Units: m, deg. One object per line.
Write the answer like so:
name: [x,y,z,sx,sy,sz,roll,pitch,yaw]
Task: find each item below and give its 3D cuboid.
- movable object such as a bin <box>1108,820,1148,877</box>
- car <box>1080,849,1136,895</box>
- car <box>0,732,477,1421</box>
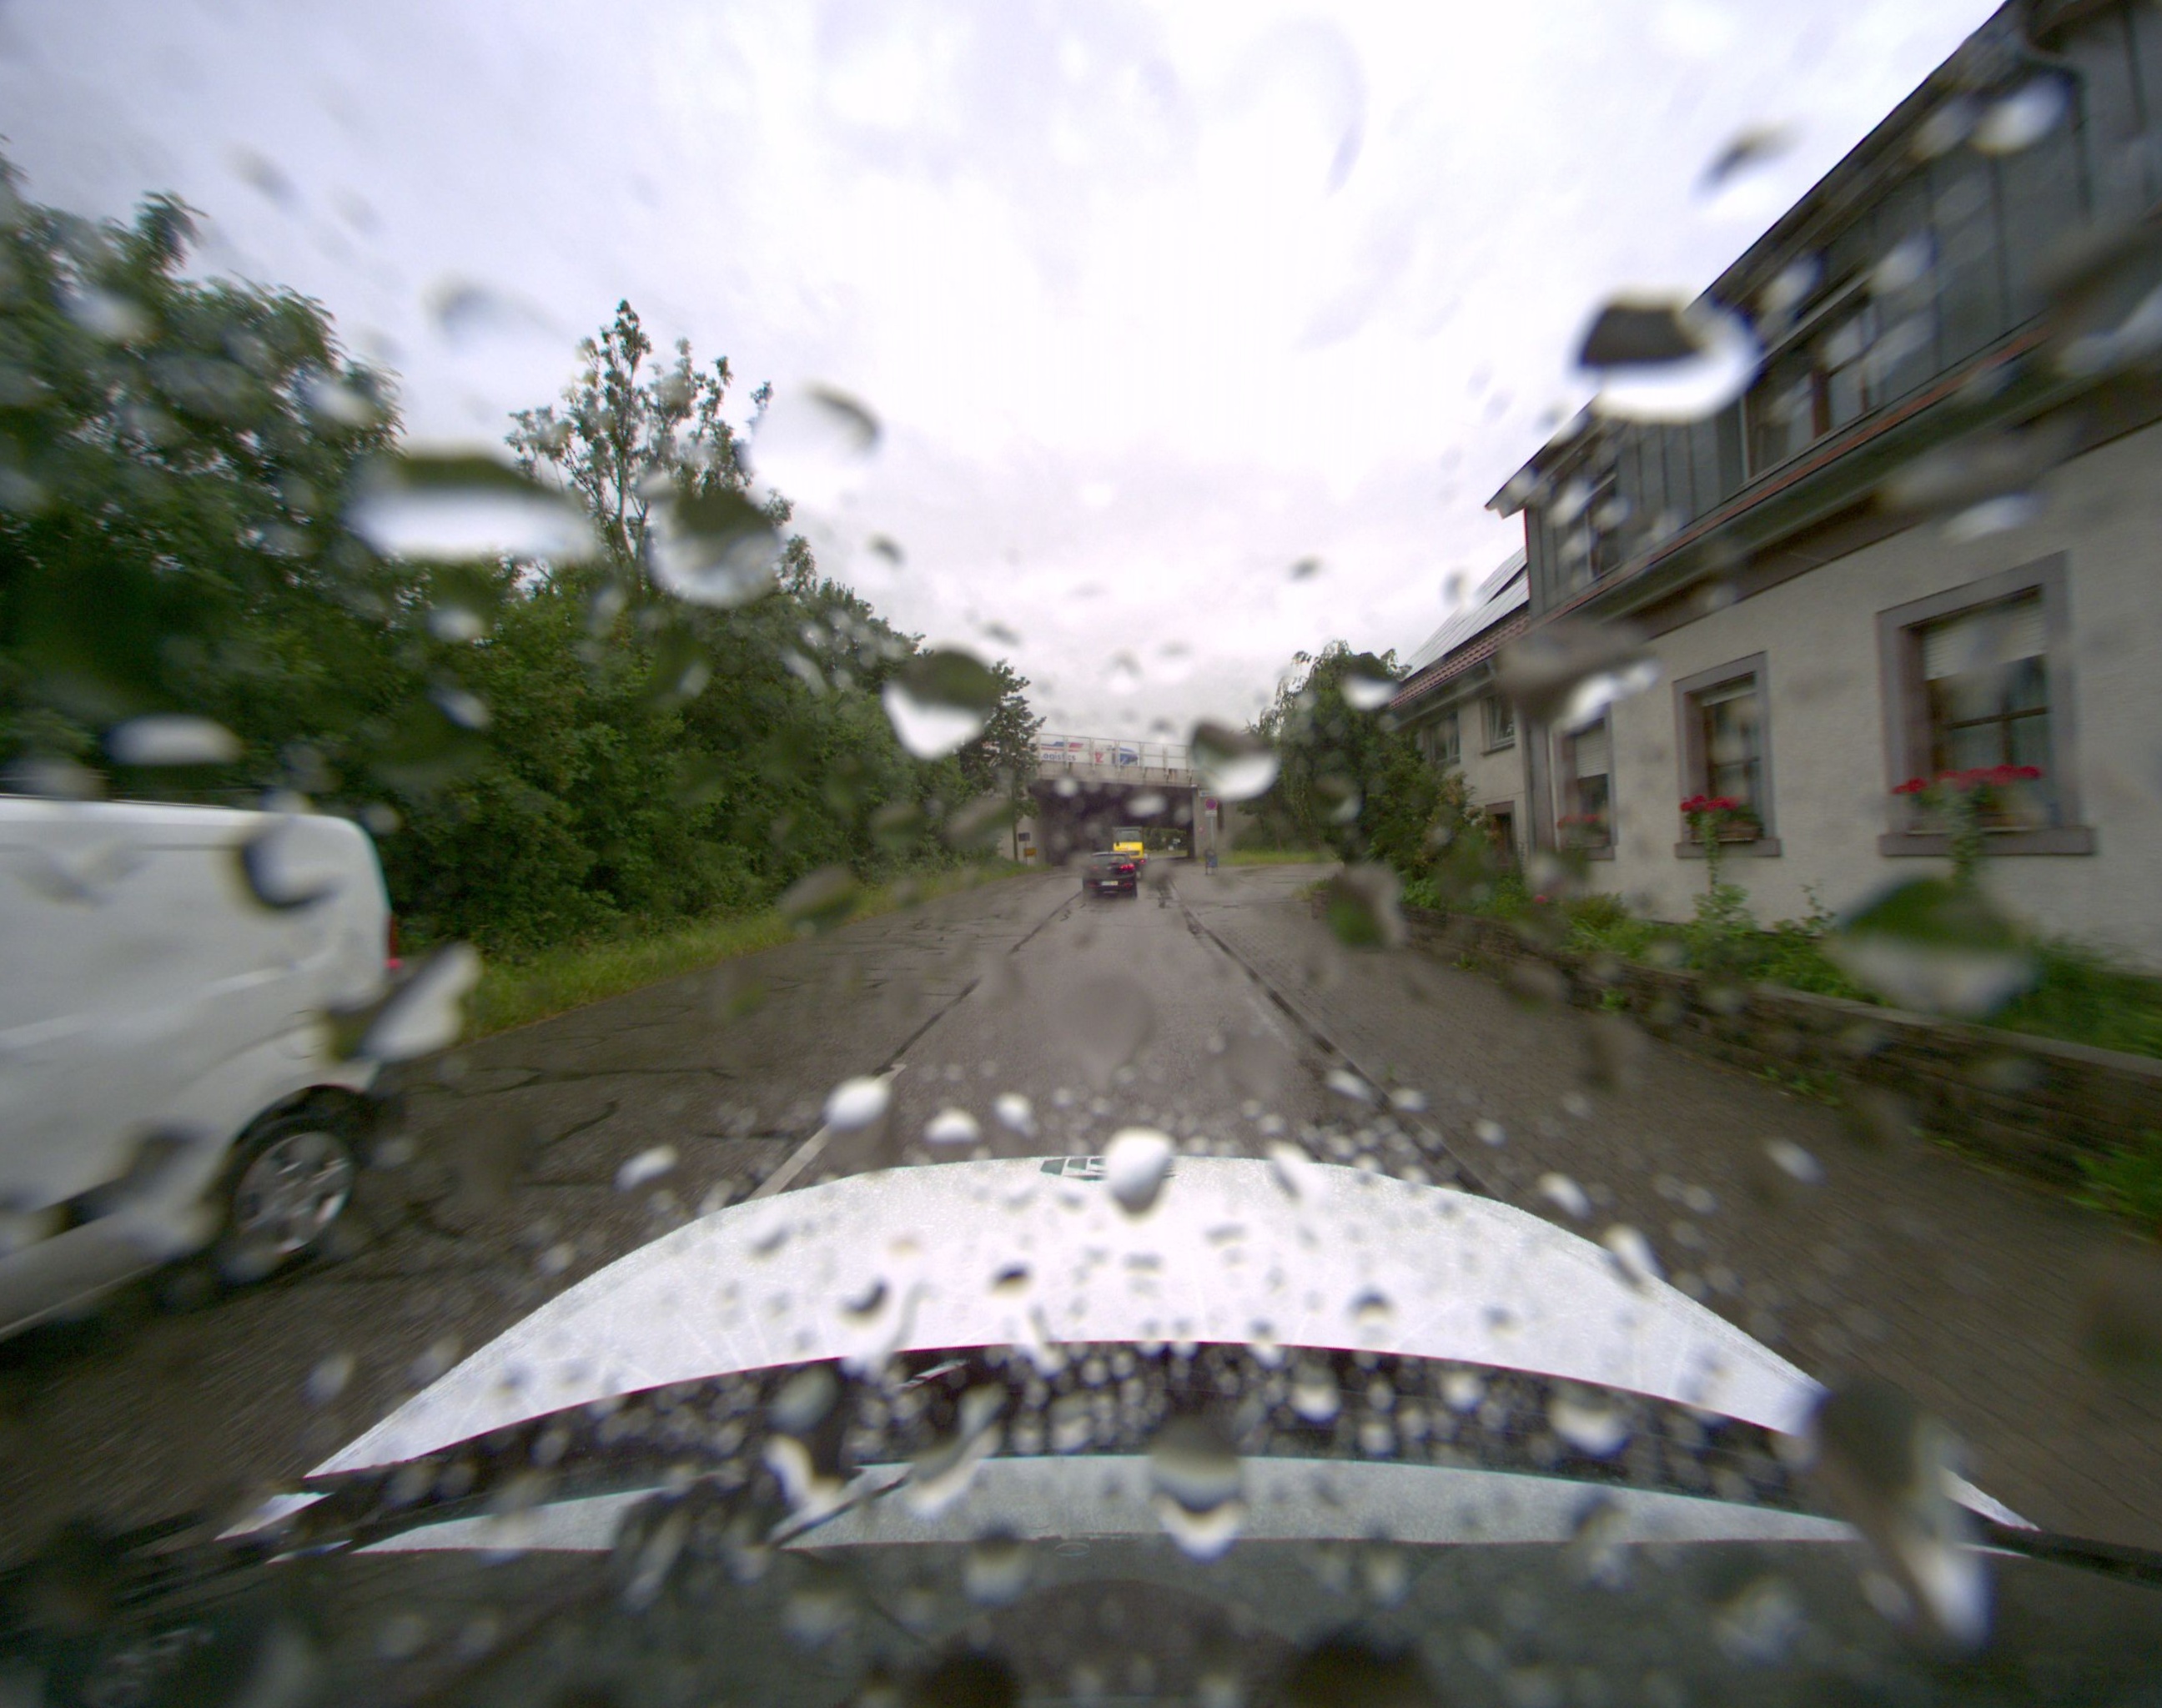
movable object such as a bin: [2.236,-0.239,39.136,1.754,2.547,4.242,-1,0,3]
car: [0.941,0.559,26.992,1.701,1.377,4.003,-1,0,3]
car: [-3.787,0.611,1.723,1.818,1.831,4.305,-1,0,-1]
